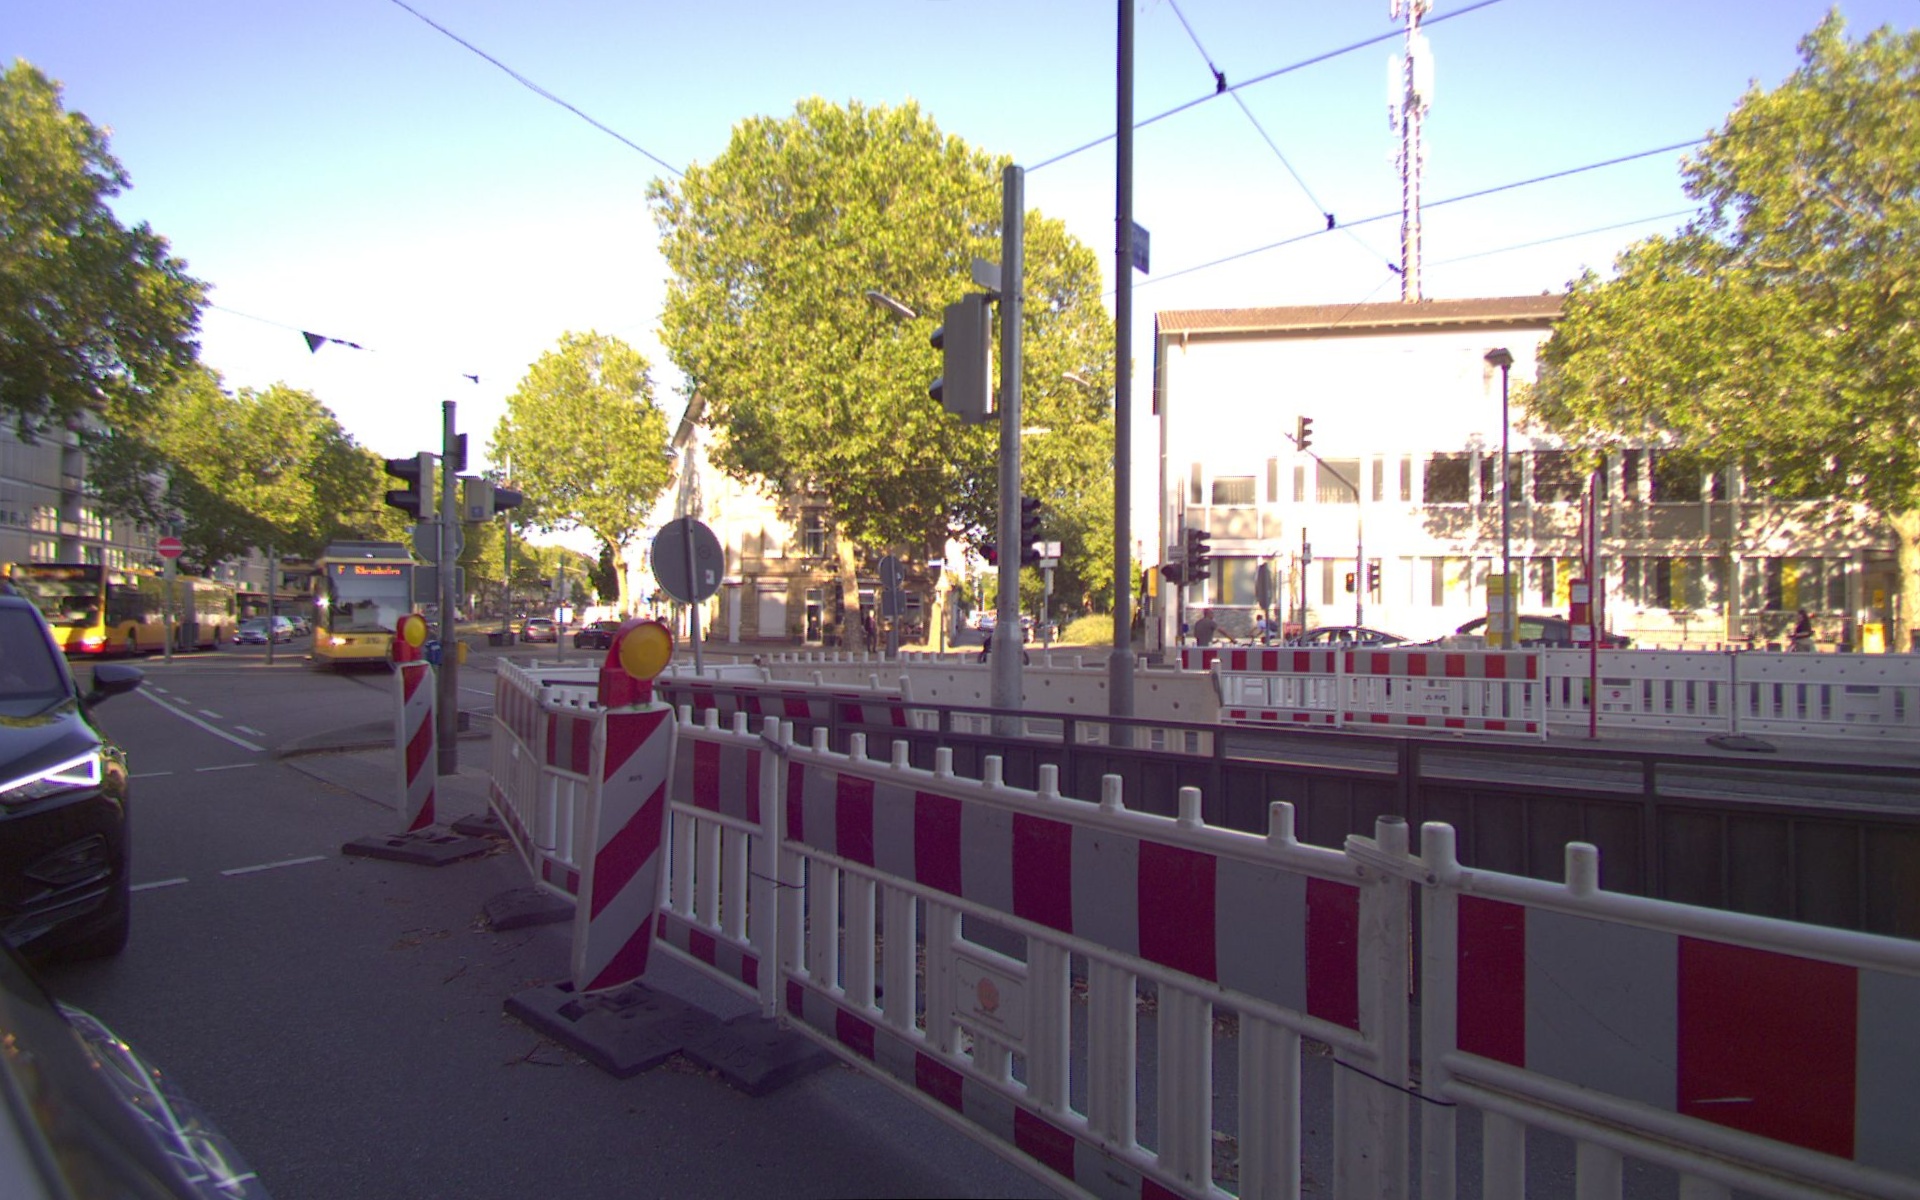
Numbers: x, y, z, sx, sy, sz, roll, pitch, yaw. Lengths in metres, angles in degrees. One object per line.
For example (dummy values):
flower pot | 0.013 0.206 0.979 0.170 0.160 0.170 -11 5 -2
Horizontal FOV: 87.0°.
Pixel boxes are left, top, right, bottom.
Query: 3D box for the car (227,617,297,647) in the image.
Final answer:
car | -37.414 1.703 54.362 1.880 1.486 4.431 1 -1 -17

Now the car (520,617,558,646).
car | -25.442 1.912 61.201 1.920 1.667 4.705 0 -2 -20

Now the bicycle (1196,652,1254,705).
bicycle | 5.202 1.525 19.850 1.558 0.973 0.322 1 -2 -44

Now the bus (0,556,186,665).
bus | -28.667 0.385 33.705 2.707 3.127 9.528 1 -1 -26

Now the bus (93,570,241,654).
bus | -32.784 0.545 42.320 2.707 3.127 9.528 1 -1 -25

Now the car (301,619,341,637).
car | -52.343 2.288 82.924 1.201 1.484 2.592 0 -1 43

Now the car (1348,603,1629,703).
car | 10.035 0.929 19.366 4.576 1.679 1.878 -1 0 35

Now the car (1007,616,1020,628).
car | 7.162 2.941 134.988 1.705 1.505 3.994 0 -1 4

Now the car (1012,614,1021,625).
car | 11.131 3.801 199.459 1.828 2.031 3.994 0 -1 4

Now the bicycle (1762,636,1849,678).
bicycle | 19.093 1.285 22.890 1.463 0.902 0.457 -1 -2 37

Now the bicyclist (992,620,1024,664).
bicyclist | 1.417 1.231 29.928 0.803 1.304 0.555 -1 -2 34

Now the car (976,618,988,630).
car | 3.661 3.992 171.548 1.828 2.031 3.994 0 -1 4

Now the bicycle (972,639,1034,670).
bicycle | 1.268 1.603 30.018 1.796 0.869 0.555 -1 -2 34

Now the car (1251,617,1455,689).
car | 10.064 1.296 26.065 4.576 1.679 1.878 -1 0 35

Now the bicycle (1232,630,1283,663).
bicycle | 9.140 1.427 31.149 1.461 0.974 0.406 -1 -2 40

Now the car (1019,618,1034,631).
car | 7.894 2.936 120.419 1.705 1.505 3.994 0 -1 4

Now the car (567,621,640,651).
car | -18.086 1.827 51.220 1.968 1.459 4.545 1 -3 -40

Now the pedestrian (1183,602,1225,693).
pedestrian | 4.873 0.940 20.201 0.588 1.772 0.597 1 -2 -43

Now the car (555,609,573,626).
car | -51.968 2.377 132.843 2.131 2.138 4.994 2 -2 -20

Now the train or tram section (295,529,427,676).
train or tram section | -17.493 0.135 29.430 2.777 3.514 10.368 1 -1 -32

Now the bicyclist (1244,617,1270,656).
bicyclist | 9.135 1.129 31.157 0.662 1.182 0.406 -1 -2 40

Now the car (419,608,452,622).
car | -77.496 2.194 149.462 1.874 2.029 3.956 -1 -1 32

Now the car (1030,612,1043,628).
car | 10.244 2.692 135.563 1.828 2.160 3.994 0 -1 4

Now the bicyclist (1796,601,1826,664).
bicyclist | 19.192 0.723 22.827 0.463 1.407 0.457 -1 -2 36

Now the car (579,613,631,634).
car | -33.999 2.224 96.976 1.895 1.991 4.604 -1 -1 29

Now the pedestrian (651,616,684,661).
pedestrian | -10.067 1.312 34.878 0.795 1.520 0.793 0 -1 17

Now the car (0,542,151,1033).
car | -5.154 0.669 4.596 4.301 1.670 1.823 -1 -1 45

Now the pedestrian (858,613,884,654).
pedestrian | -3.897 1.460 44.237 0.801 1.769 0.787 -1 -2 41

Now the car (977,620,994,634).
car | 2.912 3.050 115.201 1.705 1.505 3.994 0 -1 4

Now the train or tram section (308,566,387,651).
train or tram section | -28.365 0.447 47.089 2.831 3.514 10.370 0 -1 -30

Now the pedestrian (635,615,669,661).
pedestrian | -10.377 1.274 34.105 0.794 1.520 0.794 0 -1 12

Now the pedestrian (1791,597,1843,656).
pedestrian | 25.607 0.793 30.255 0.875 1.742 0.805 0 -1 10

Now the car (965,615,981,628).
car | 1.524 2.557 120.742 1.705 1.505 3.994 0 -1 4

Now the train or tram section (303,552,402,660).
train or tram section | -22.975 0.282 38.244 2.796 3.514 10.368 1 -1 -31
